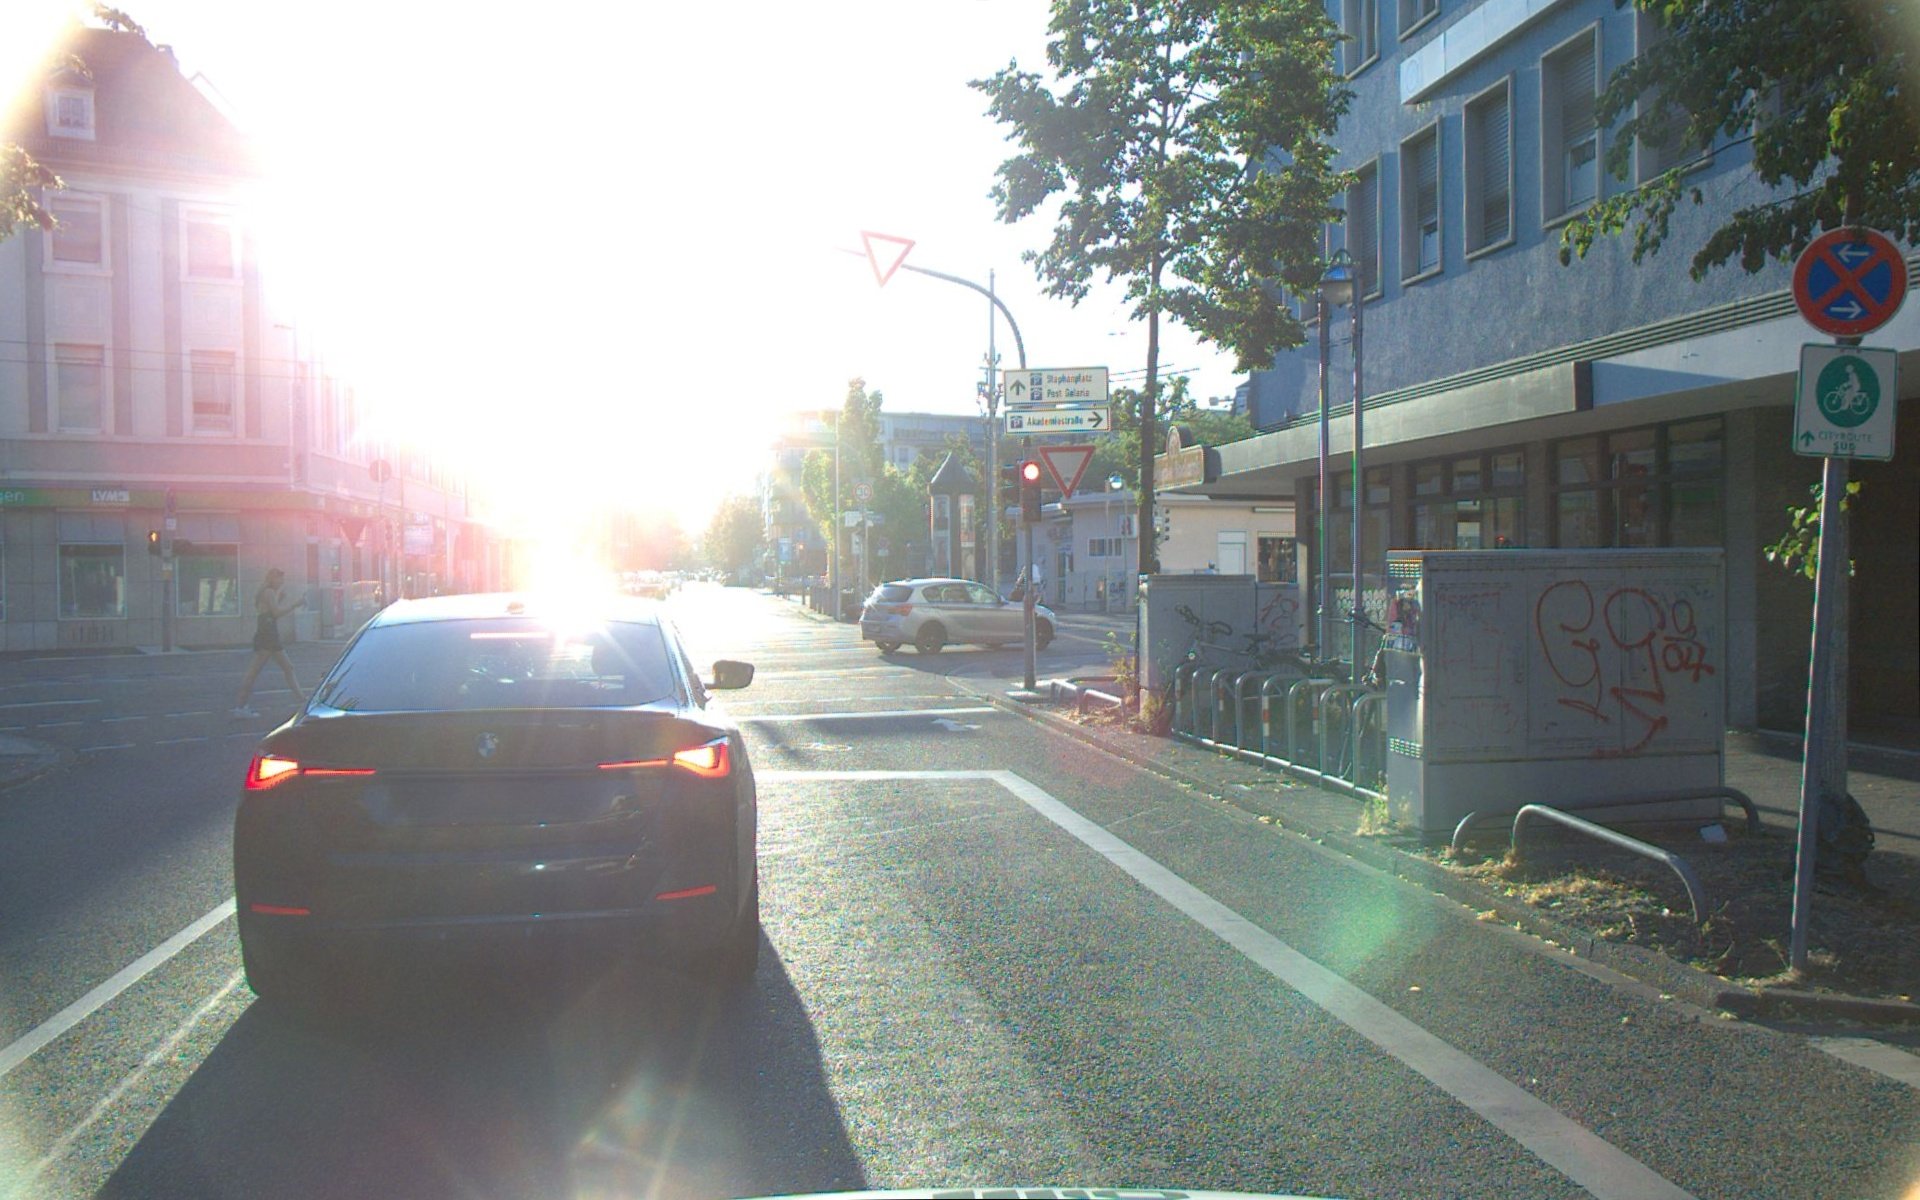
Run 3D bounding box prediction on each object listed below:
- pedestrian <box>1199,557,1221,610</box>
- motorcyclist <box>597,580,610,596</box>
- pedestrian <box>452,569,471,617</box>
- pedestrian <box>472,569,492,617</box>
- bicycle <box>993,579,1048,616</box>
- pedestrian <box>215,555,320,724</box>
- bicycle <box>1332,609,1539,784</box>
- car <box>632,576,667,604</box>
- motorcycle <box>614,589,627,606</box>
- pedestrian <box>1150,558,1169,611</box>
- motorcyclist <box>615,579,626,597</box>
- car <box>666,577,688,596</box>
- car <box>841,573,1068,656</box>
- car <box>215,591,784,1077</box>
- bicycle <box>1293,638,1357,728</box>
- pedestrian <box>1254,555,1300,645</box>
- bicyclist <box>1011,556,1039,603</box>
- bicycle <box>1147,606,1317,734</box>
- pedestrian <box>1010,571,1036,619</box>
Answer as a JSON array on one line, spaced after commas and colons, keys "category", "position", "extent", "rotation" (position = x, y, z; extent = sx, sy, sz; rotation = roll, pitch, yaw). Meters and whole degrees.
[{"category": "pedestrian", "position": [8.330, -0.548, 55.059], "extent": [0.474, 1.765, 0.525], "rotation": [1, 0, -33]}, {"category": "motorcyclist", "position": [-20.413, -0.687, 94.602], "extent": [0.564, 0.931, 2.197], "rotation": [1, 0, -8]}, {"category": "pedestrian", "position": [-19.803, -0.277, 65.732], "extent": [0.631, 1.909, 0.631], "rotation": [1, 0, -9]}, {"category": "pedestrian", "position": [-19.121, -0.270, 66.151], "extent": [0.664, 1.909, 0.616], "rotation": [1, 0, -9]}, {"category": "bicycle", "position": [1.957, -0.072, 53.494], "extent": [0.546, 1.179, 2.115], "rotation": [1, 0, -38]}, {"category": "pedestrian", "position": [-8.186, 0.448, 19.555], "extent": [0.990, 1.892, 0.634], "rotation": [-4, 2, -29]}, {"category": "bicycle", "position": [3.473, 0.702, 12.100], "extent": [1.413, 1.241, 0.383], "rotation": [1, 0, -8]}, {"category": "car", "position": [-17.790, -0.576, 94.993], "extent": [1.784, 1.545, 3.992], "rotation": [-1, 1, -8]}, {"category": "motorcycle", "position": [-19.347, -0.126, 94.298], "extent": [0.564, 0.931, 2.197], "rotation": [1, 0, -8]}, {"category": "pedestrian", "position": [6.714, -0.512, 55.623], "extent": [0.438, 1.765, 0.429], "rotation": [1, 0, -34]}, {"category": "motorcyclist", "position": [-19.324, -0.666, 94.186], "extent": [0.564, 1.013, 0.701], "rotation": [1, 0, -9]}, {"category": "car", "position": [-24.559, -1.163, 143.631], "extent": [1.784, 1.545, 3.992], "rotation": [-1, 1, -8]}, {"category": "car", "position": [-0.087, 0.244, 33.555], "extent": [4.270, 1.524, 1.976], "rotation": [-1, 1, -35]}, {"category": "car", "position": [-1.752, 0.694, 7.212], "extent": [1.705, 1.453, 4.214], "rotation": [0, 0, -10]}, {"category": "bicycle", "position": [3.561, 0.800, 16.191], "extent": [0.244, 0.810, 1.114], "rotation": [1, 0, -7]}, {"category": "pedestrian", "position": [6.685, -0.012, 34.902], "extent": [0.818, 1.874, 0.679], "rotation": [-1, 1, 21]}, {"category": "bicyclist", "position": [2.096, -0.648, 53.317], "extent": [0.546, 1.507, 0.713], "rotation": [1, 0, -38]}, {"category": "bicycle", "position": [2.626, 0.667, 15.971], "extent": [1.582, 1.191, 0.318], "rotation": [-1, 1, -7]}, {"category": "pedestrian", "position": [2.066, -0.160, 54.259], "extent": [0.723, 1.555, 0.469], "rotation": [1, 0, -23]}]
